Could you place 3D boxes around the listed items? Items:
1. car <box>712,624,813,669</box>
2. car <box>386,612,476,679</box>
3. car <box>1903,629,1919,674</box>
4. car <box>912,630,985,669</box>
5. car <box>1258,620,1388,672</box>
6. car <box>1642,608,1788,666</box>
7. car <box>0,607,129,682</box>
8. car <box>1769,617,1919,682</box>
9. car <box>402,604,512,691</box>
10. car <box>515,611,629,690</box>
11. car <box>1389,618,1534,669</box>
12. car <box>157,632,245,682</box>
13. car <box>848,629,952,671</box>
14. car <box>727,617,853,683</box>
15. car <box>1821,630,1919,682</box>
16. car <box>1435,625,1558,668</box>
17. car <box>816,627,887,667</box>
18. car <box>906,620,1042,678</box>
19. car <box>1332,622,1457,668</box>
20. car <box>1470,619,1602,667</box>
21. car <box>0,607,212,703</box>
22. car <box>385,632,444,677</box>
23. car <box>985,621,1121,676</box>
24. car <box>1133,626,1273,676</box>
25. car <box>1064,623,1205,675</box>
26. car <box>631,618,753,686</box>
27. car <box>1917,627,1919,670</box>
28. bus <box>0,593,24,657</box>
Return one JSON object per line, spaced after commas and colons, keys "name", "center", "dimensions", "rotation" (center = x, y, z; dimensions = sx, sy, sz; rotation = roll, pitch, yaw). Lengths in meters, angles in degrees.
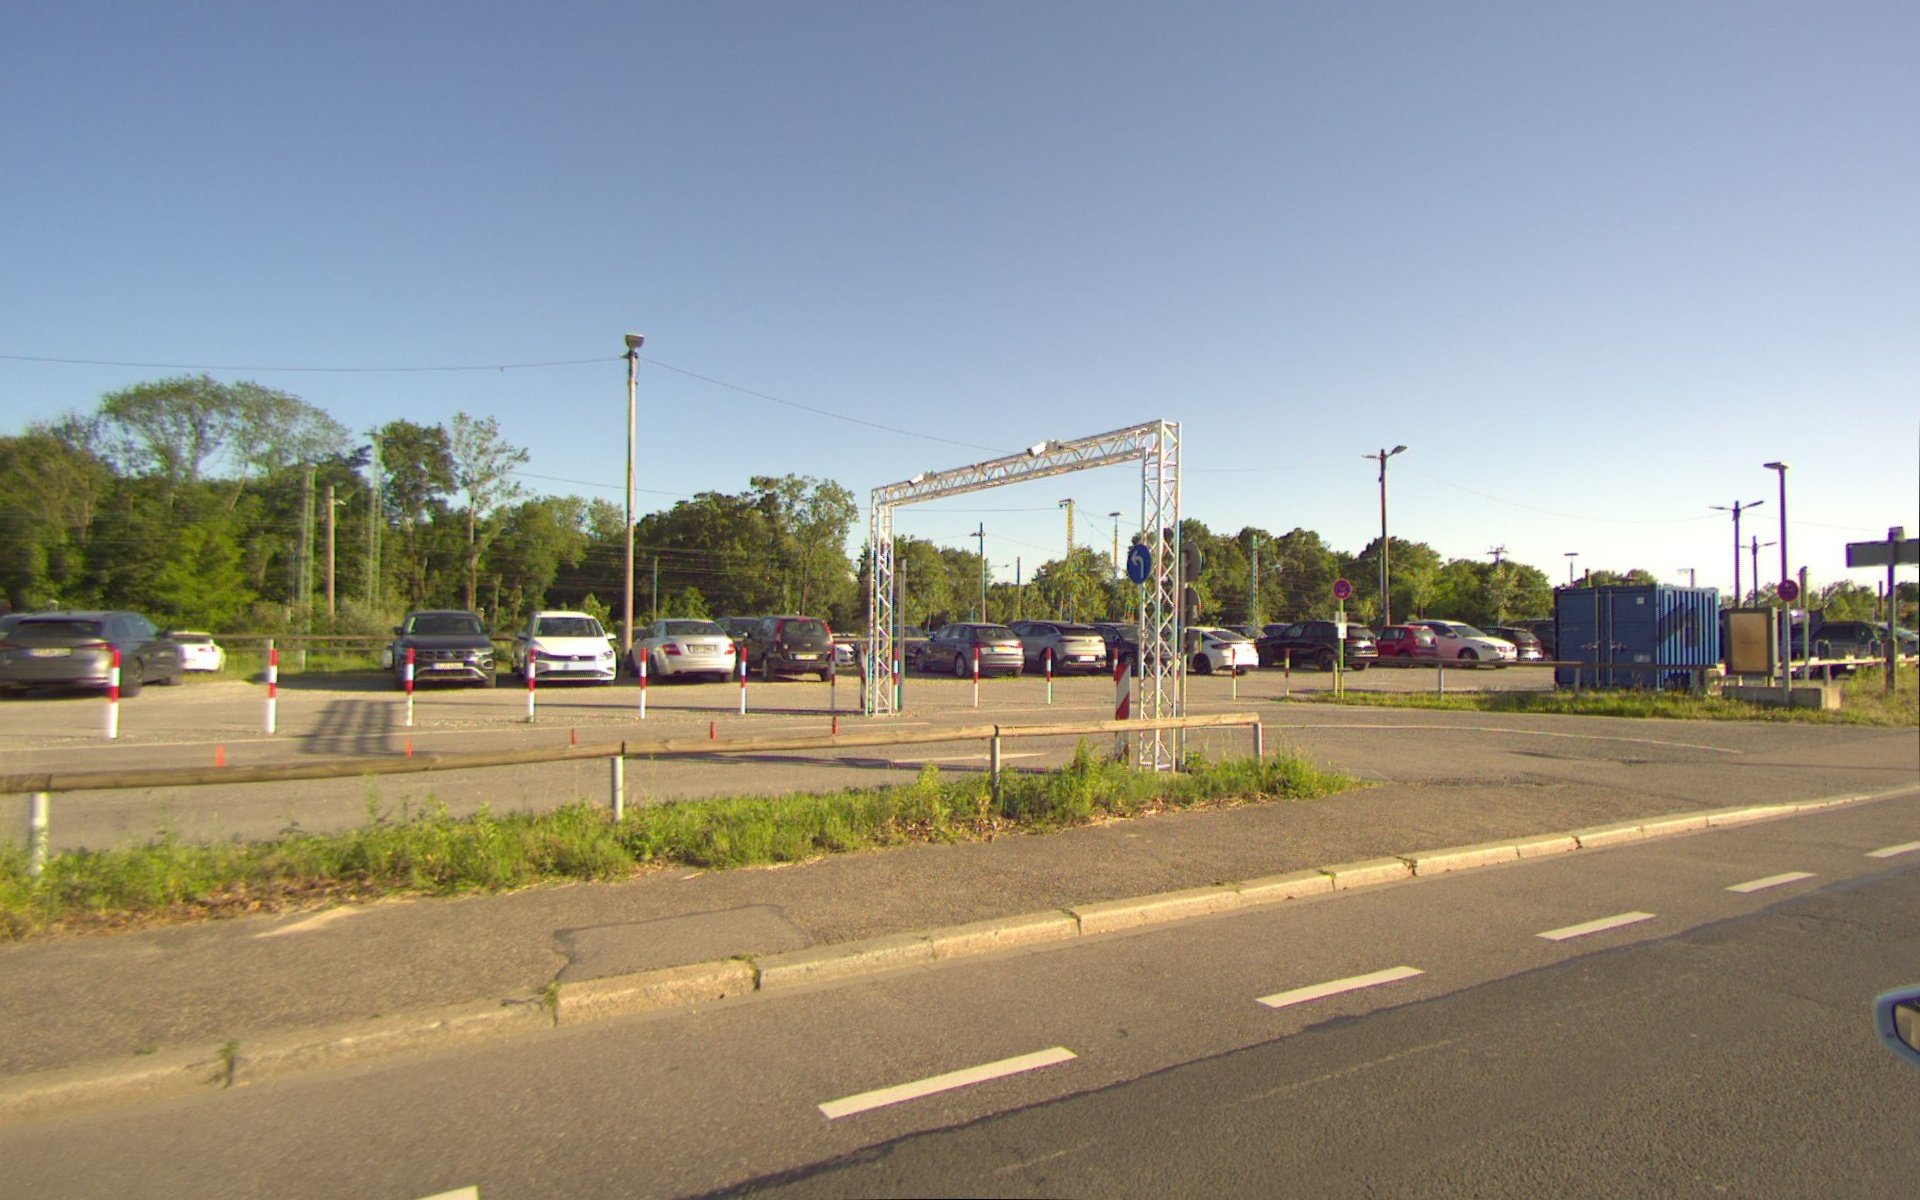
{"name": "car", "center": [-5.852, 1.327, 29.435], "dimensions": [1.855, 1.203, 3.867], "rotation": [1, -1, -28]}
{"name": "car", "center": [-13.414, 1.085, 25.538], "dimensions": [1.854, 1.543, 4.305], "rotation": [1, -1, -27]}
{"name": "car", "center": [35.250, 1.806, 34.319], "dimensions": [1.855, 1.578, 4.070], "rotation": [1, -1, -29]}
{"name": "car", "center": [-0.540, 2.161, 44.668], "dimensions": [1.732, 1.574, 3.707], "rotation": [1, -1, -28]}
{"name": "car", "center": [12.120, 1.495, 33.783], "dimensions": [1.855, 1.625, 3.866], "rotation": [1, -1, -29]}
{"name": "car", "center": [34.504, 1.655, 46.050], "dimensions": [2.292, 2.492, 4.905], "rotation": [1, -1, -29]}
{"name": "car", "center": [-19.553, 0.908, 21.584], "dimensions": [1.872, 1.485, 3.969], "rotation": [1, -1, -29]}
{"name": "car", "center": [27.835, 1.454, 30.414], "dimensions": [1.976, 1.859, 4.824], "rotation": [1, -1, -29]}
{"name": "car", "center": [-10.563, 0.930, 21.083], "dimensions": [1.834, 1.606, 4.559], "rotation": [1, -1, -27]}
{"name": "car", "center": [-8.610, 1.035, 22.081], "dimensions": [1.854, 1.543, 4.305], "rotation": [1, -1, -27]}
{"name": "car", "center": [18.439, 1.549, 37.170], "dimensions": [2.030, 1.764, 4.567], "rotation": [1, -1, -24]}
{"name": "car", "center": [-23.988, 1.776, 31.873], "dimensions": [1.705, 1.501, 3.592], "rotation": [1, -2, -29]}
{"name": "car", "center": [-1.962, 1.535, 31.853], "dimensions": [1.855, 1.203, 3.847], "rotation": [1, -1, -28]}
{"name": "car", "center": [-4.311, 1.174, 24.867], "dimensions": [1.854, 1.482, 4.305], "rotation": [1, -1, -27]}
{"name": "car", "center": [30.521, 1.774, 31.816], "dimensions": [1.976, 1.578, 4.574], "rotation": [1, -1, -29]}
{"name": "car", "center": [20.820, 1.762, 39.138], "dimensions": [1.855, 1.540, 3.866], "rotation": [1, -1, -29]}
{"name": "car", "center": [-4.664, 1.966, 42.690], "dimensions": [1.732, 1.574, 3.707], "rotation": [1, -1, -28]}
{"name": "car", "center": [0.287, 1.274, 27.434], "dimensions": [1.855, 1.438, 4.303], "rotation": [1, -1, -29]}
{"name": "car", "center": [15.658, 1.605, 36.386], "dimensions": [1.855, 1.540, 3.866], "rotation": [1, -1, -29]}
{"name": "car", "center": [23.077, 1.690, 40.436], "dimensions": [1.855, 1.815, 4.303], "rotation": [1, -1, -29]}
{"name": "car", "center": [-15.320, 0.904, 18.172], "dimensions": [1.964, 1.500, 4.562], "rotation": [1, -1, -25]}
{"name": "car", "center": [-19.015, 1.867, 35.015], "dimensions": [1.705, 1.501, 3.592], "rotation": [1, -2, -29]}
{"name": "car", "center": [2.600, 1.342, 29.134], "dimensions": [1.855, 1.438, 4.303], "rotation": [1, -1, -29]}
{"name": "car", "center": [7.442, 1.519, 31.171], "dimensions": [1.855, 1.394, 4.303], "rotation": [1, -1, -29]}
{"name": "car", "center": [5.077, 1.404, 29.742], "dimensions": [1.855, 1.394, 4.303], "rotation": [1, -1, -29]}
{"name": "car", "center": [-6.285, 1.126, 23.214], "dimensions": [1.854, 1.412, 4.305], "rotation": [1, -1, -27]}
{"name": "car", "center": [37.548, 1.790, 35.902], "dimensions": [1.855, 1.578, 4.522], "rotation": [1, -1, -29]}
{"name": "bus", "center": [-38.624, 0.917, 36.972], "dimensions": [5.518, 2.379, 2.530], "rotation": [1, -2, -28]}
